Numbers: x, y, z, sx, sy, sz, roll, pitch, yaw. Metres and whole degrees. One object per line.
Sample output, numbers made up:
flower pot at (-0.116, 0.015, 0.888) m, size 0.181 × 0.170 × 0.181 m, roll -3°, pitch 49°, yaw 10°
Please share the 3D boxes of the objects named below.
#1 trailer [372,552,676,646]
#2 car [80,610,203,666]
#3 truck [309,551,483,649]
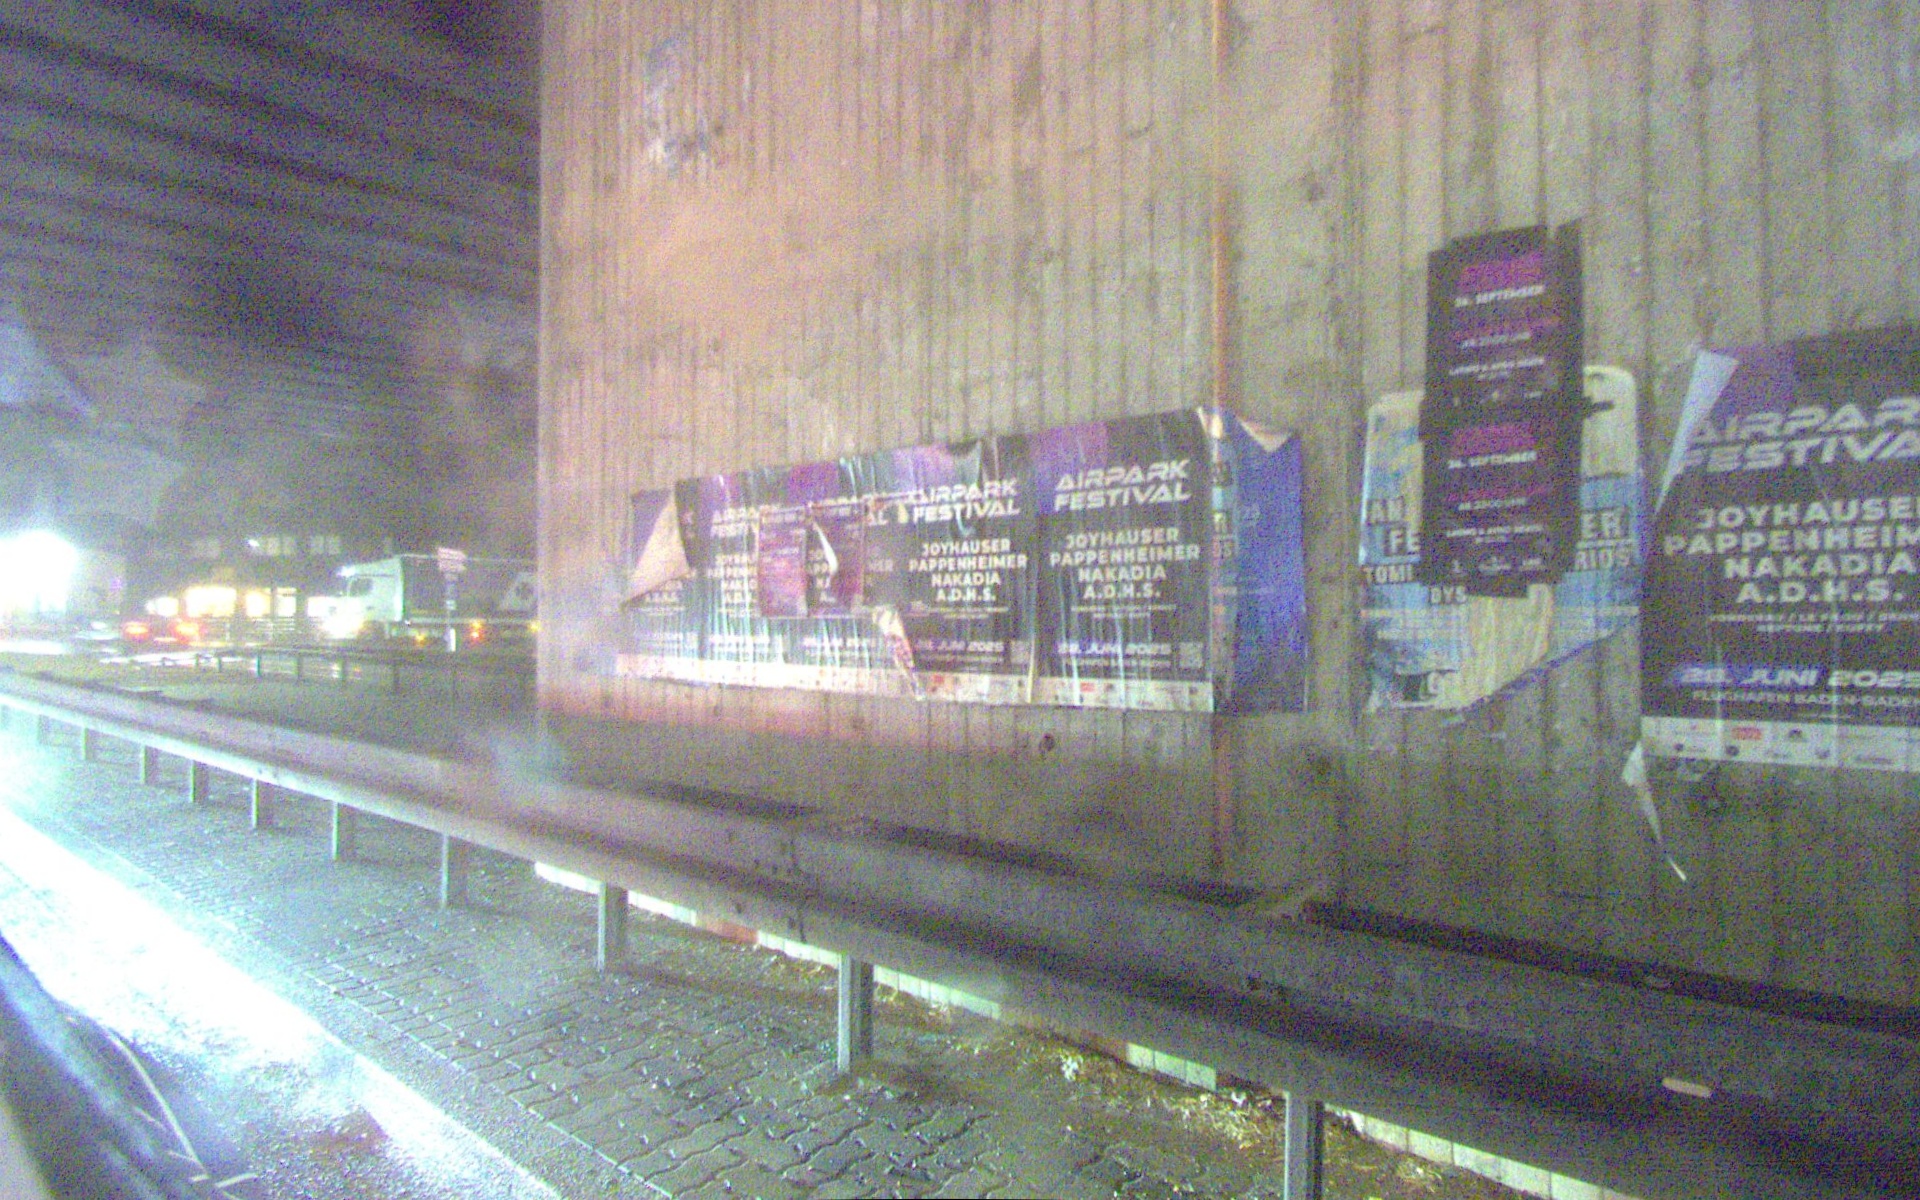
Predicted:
trailer at (-21.728, -0.085, 51.547) m, size 13.713 × 4.208 × 3.973 m, roll -1°, pitch 0°, yaw -44°
car at (-25.611, 1.138, 31.648) m, size 3.991 × 1.617 × 1.977 m, roll -1°, pitch 0°, yaw 35°
truck at (-26.206, -0.021, 47.156) m, size 6.282 × 4.208 × 3.973 m, roll -1°, pitch 0°, yaw -44°
